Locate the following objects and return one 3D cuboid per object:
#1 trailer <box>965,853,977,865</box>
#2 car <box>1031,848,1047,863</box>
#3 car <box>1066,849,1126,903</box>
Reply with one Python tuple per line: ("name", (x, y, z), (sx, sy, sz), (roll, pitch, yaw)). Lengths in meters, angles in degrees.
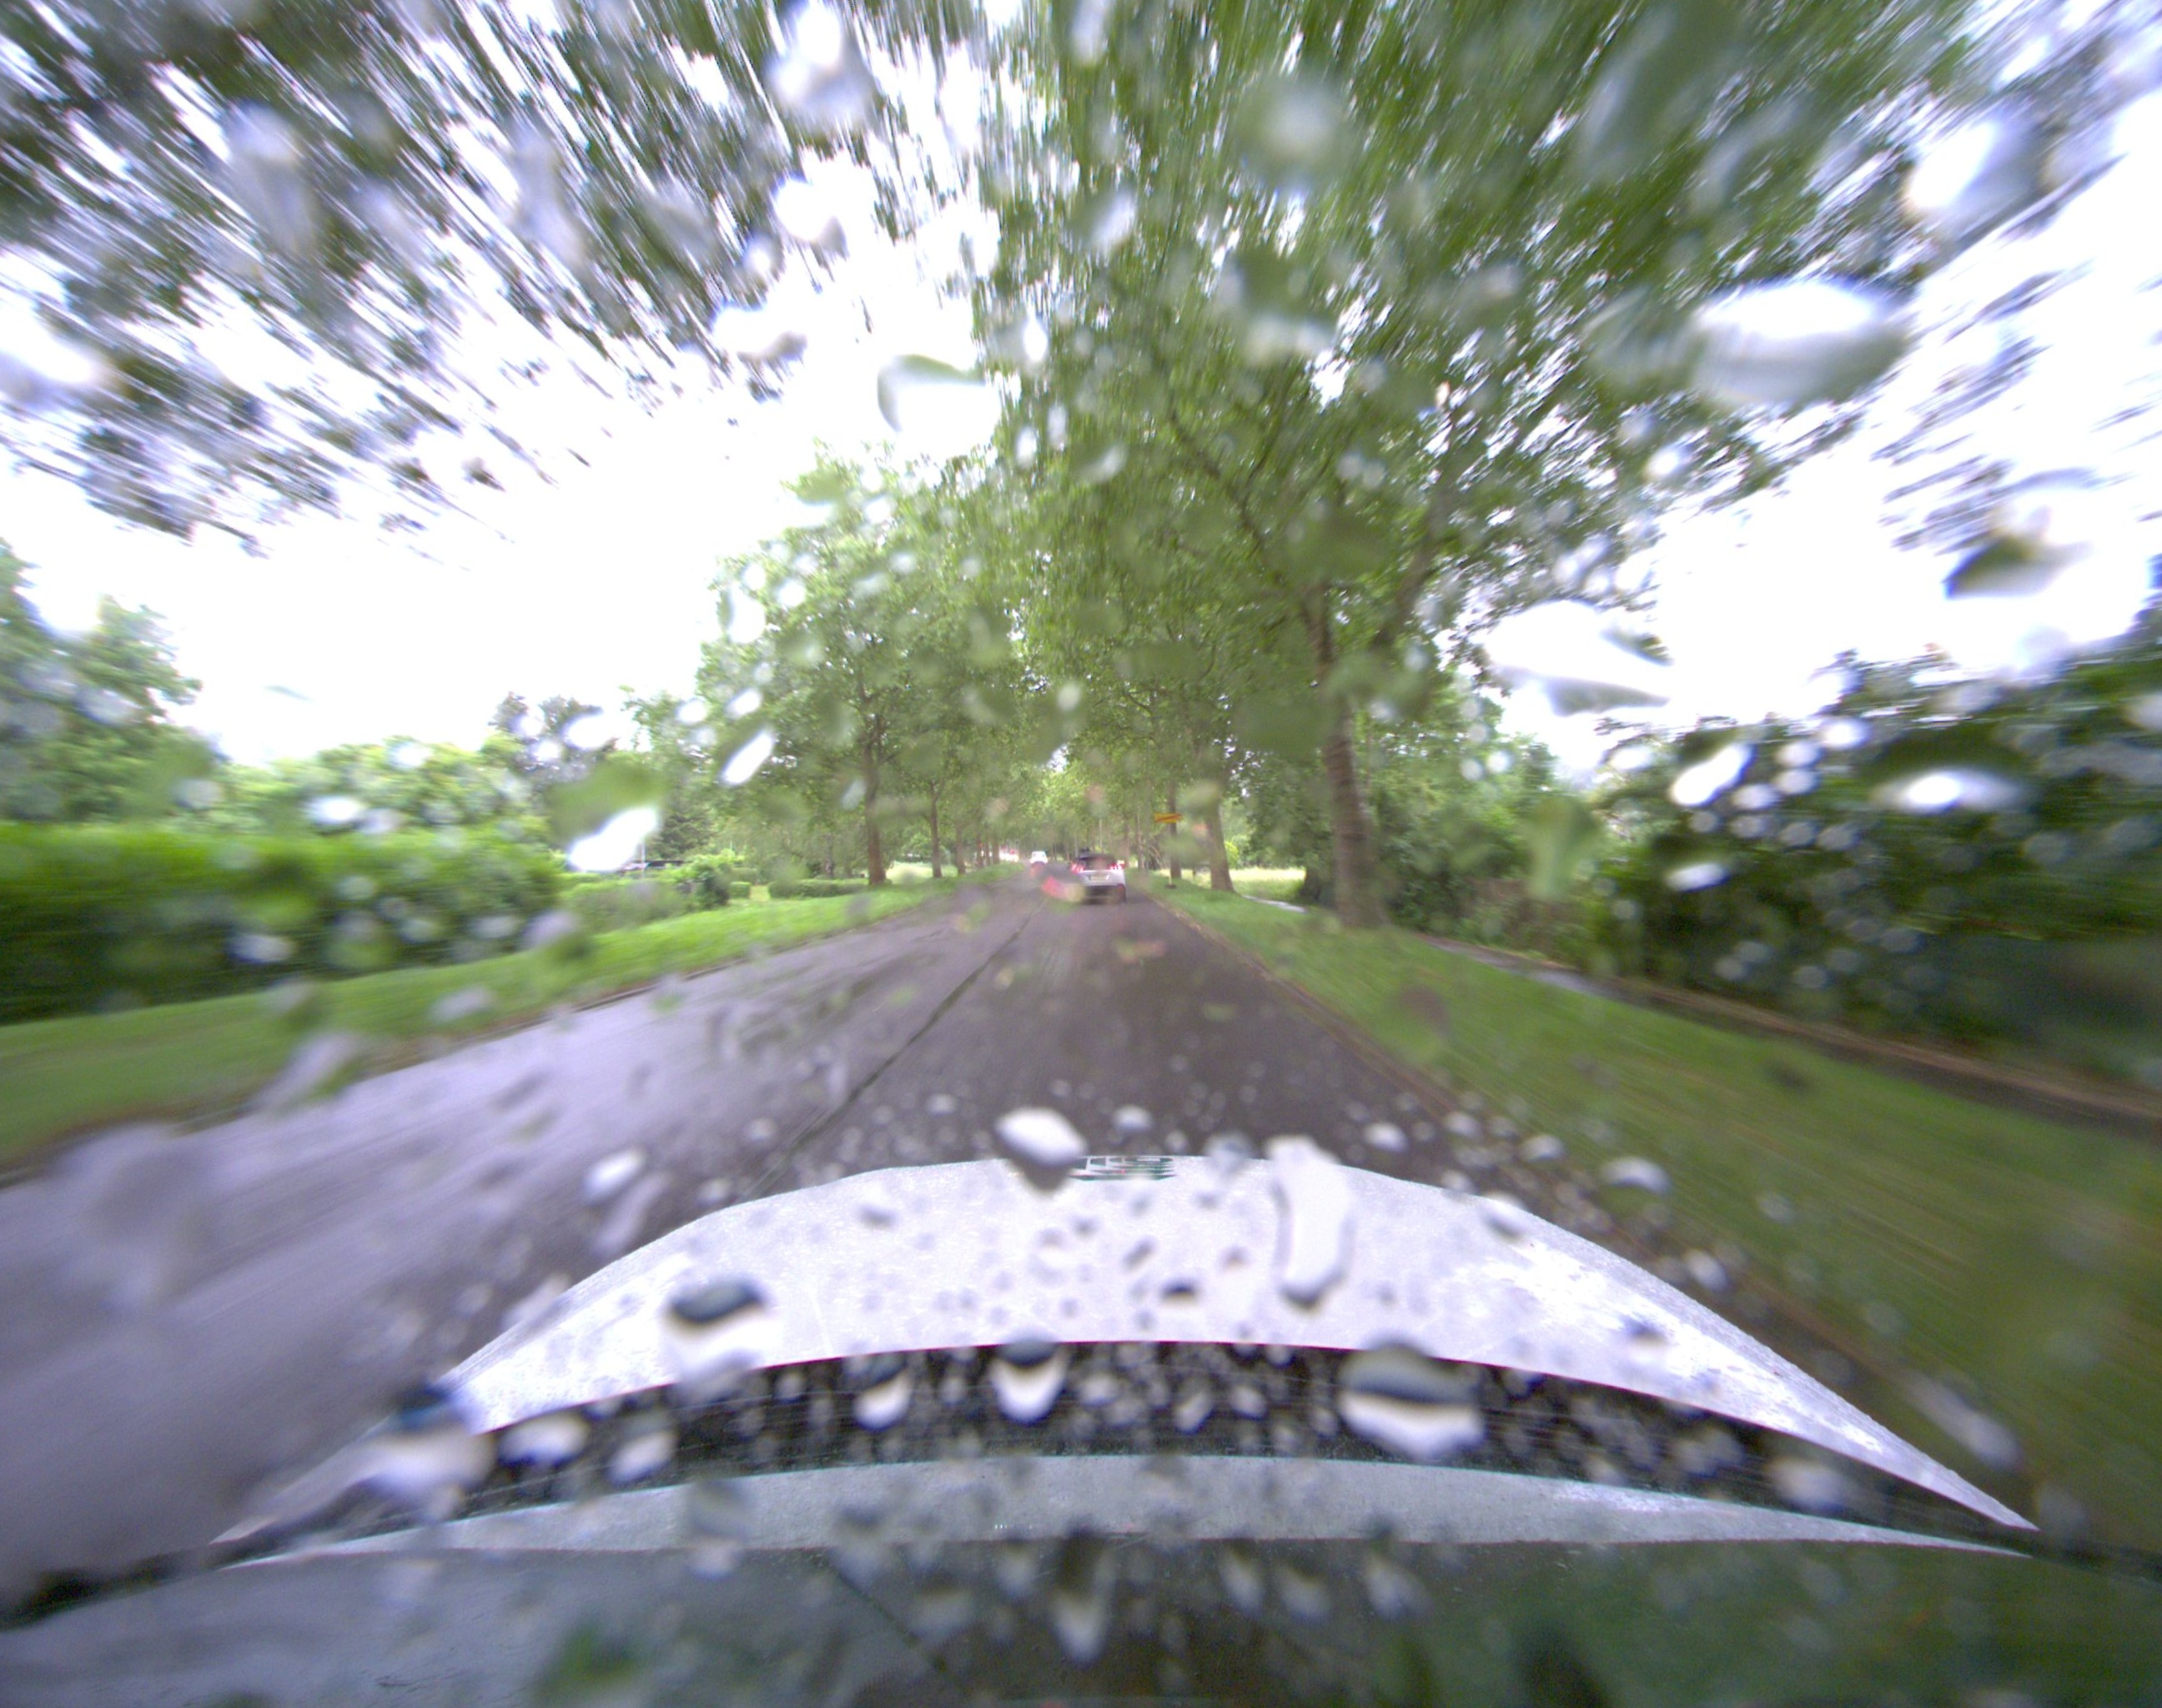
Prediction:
("trailer", (-23.835, 1.102, 177.083), (2.482, 2.567, 5.319), (0, 0, -7))
("car", (-5.175, 0.157, 100.621), (1.857, 1.750, 5.012), (0, 0, -1))
("car", (0.534, 0.631, 26.153), (1.787, 1.578, 3.847), (-1, 0, 2))
